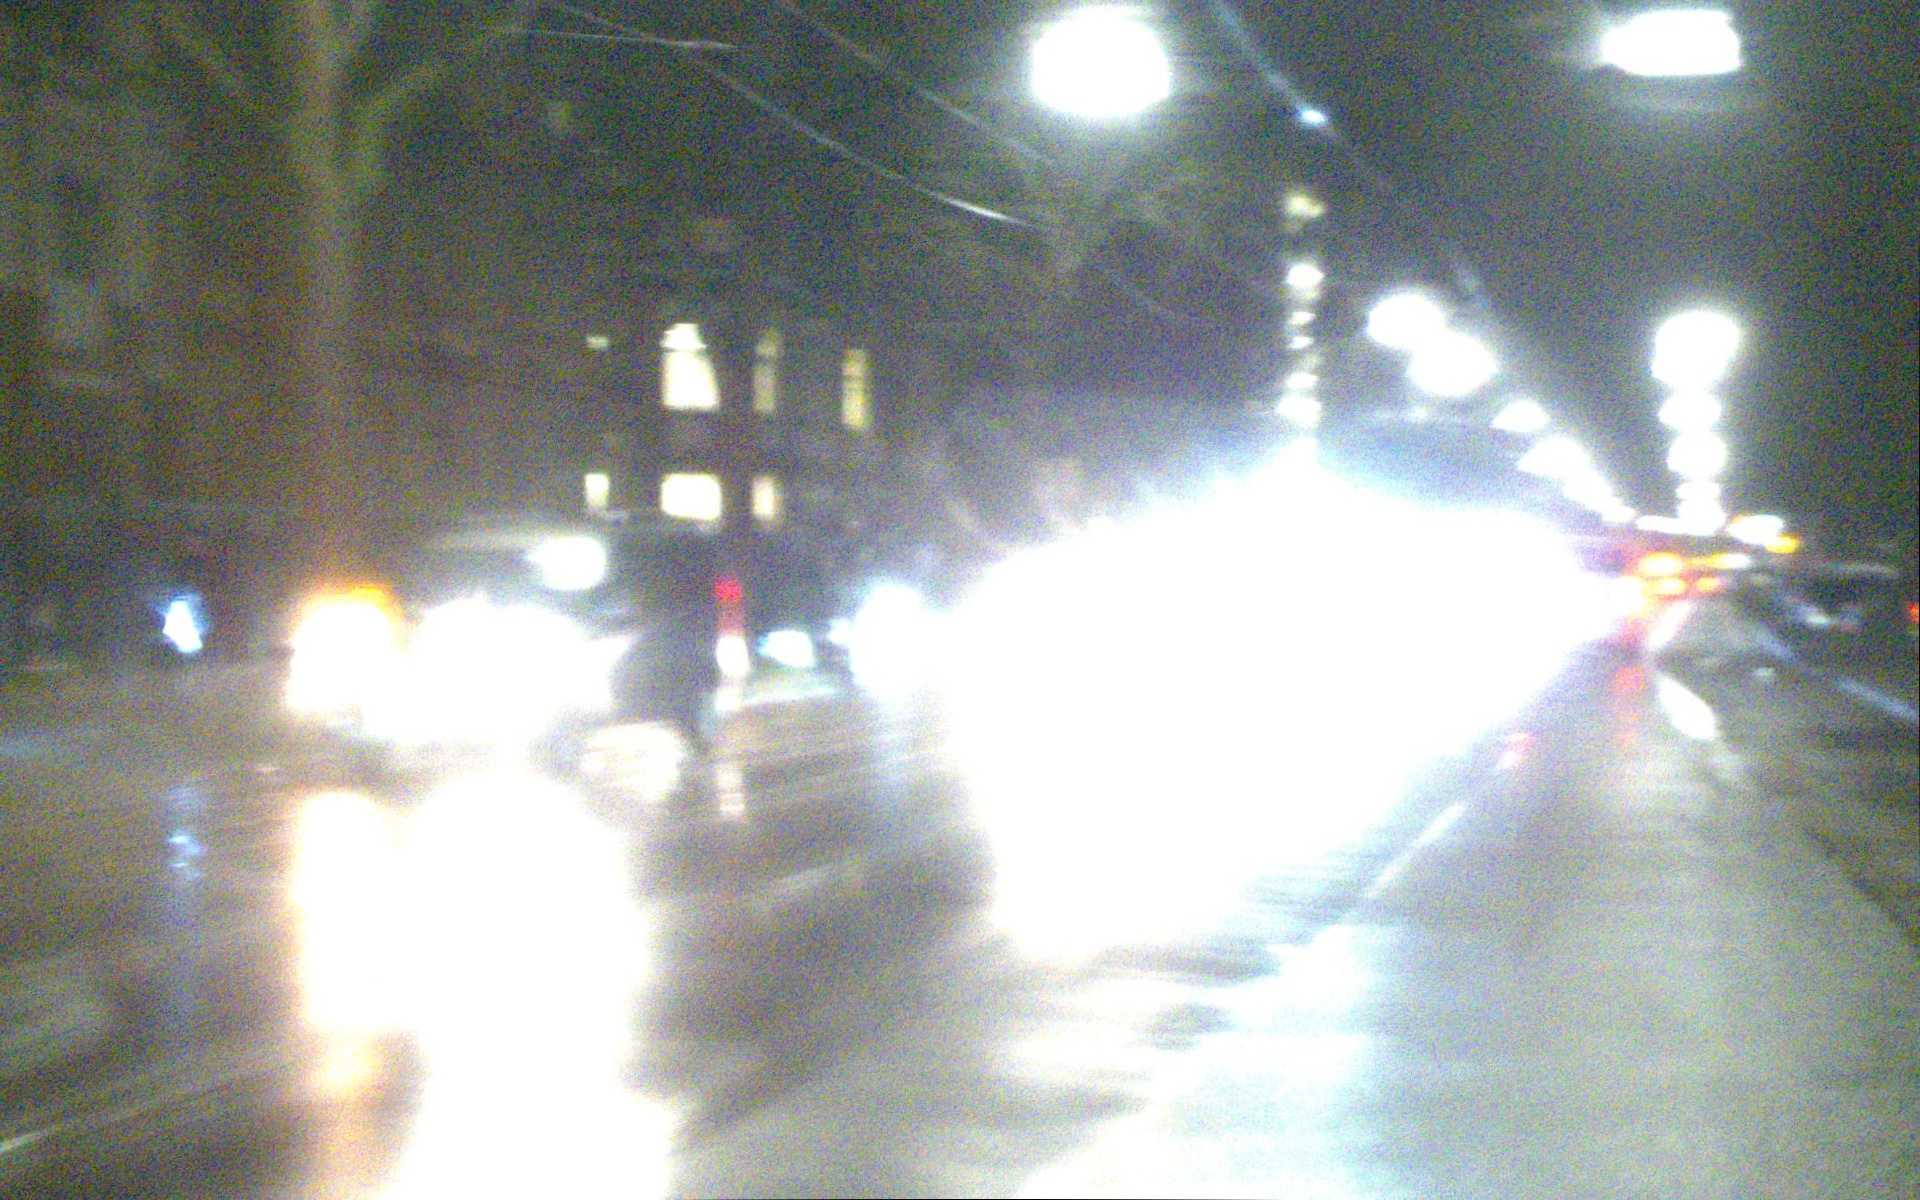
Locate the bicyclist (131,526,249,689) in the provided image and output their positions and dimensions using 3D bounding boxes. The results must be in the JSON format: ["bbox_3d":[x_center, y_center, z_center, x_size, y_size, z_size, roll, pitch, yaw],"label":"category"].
[{"bbox_3d":[-7.119,0.073,31.804,0.655,1.460,0.867,3,0,15],"label":"bicyclist"}]

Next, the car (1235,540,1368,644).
[{"bbox_3d":[6.476,-0.169,64.826,1.927,1.873,4.635,-1,1,13],"label":"car"}]

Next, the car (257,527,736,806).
[{"bbox_3d":[-3.288,0.449,25.379,1.896,1.863,4.533,0,0,15],"label":"car"}]

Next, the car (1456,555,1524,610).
[{"bbox_3d":[18.009,-0.611,116.669,1.940,1.809,4.382,-1,0,13],"label":"car"}]

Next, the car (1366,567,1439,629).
[{"bbox_3d":[11.018,-0.068,85.512,1.652,1.474,4.204,-1,0,9],"label":"car"}]

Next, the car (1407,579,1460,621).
[{"bbox_3d":[21.608,0.022,156.763,2.001,1.779,3.998,3,0,12],"label":"car"}]

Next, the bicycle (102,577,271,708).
[{"bbox_3d":[-7.136,0.395,31.806,0.655,1.137,1.896,3,0,15],"label":"bicycle"}]

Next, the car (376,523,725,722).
[{"bbox_3d":[-4.203,0.167,36.304,1.995,1.819,5.306,4,2,11],"label":"car"}]

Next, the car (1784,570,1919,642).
[{"bbox_3d":[20.329,0.157,76.165,3.777,1.453,1.770,2,1,-30],"label":"car"}]

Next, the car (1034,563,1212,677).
[{"bbox_3d":[2.274,0.238,46.995,1.793,1.459,3.899,1,1,12],"label":"car"}]

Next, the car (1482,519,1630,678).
[{"bbox_3d":[9.864,-0.044,56.842,2.218,2.433,5.382,2,1,10],"label":"car"}]

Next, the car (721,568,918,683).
[{"bbox_3d":[-1.870,0.327,47.004,1.766,1.402,4.139,3,1,10],"label":"car"}]
